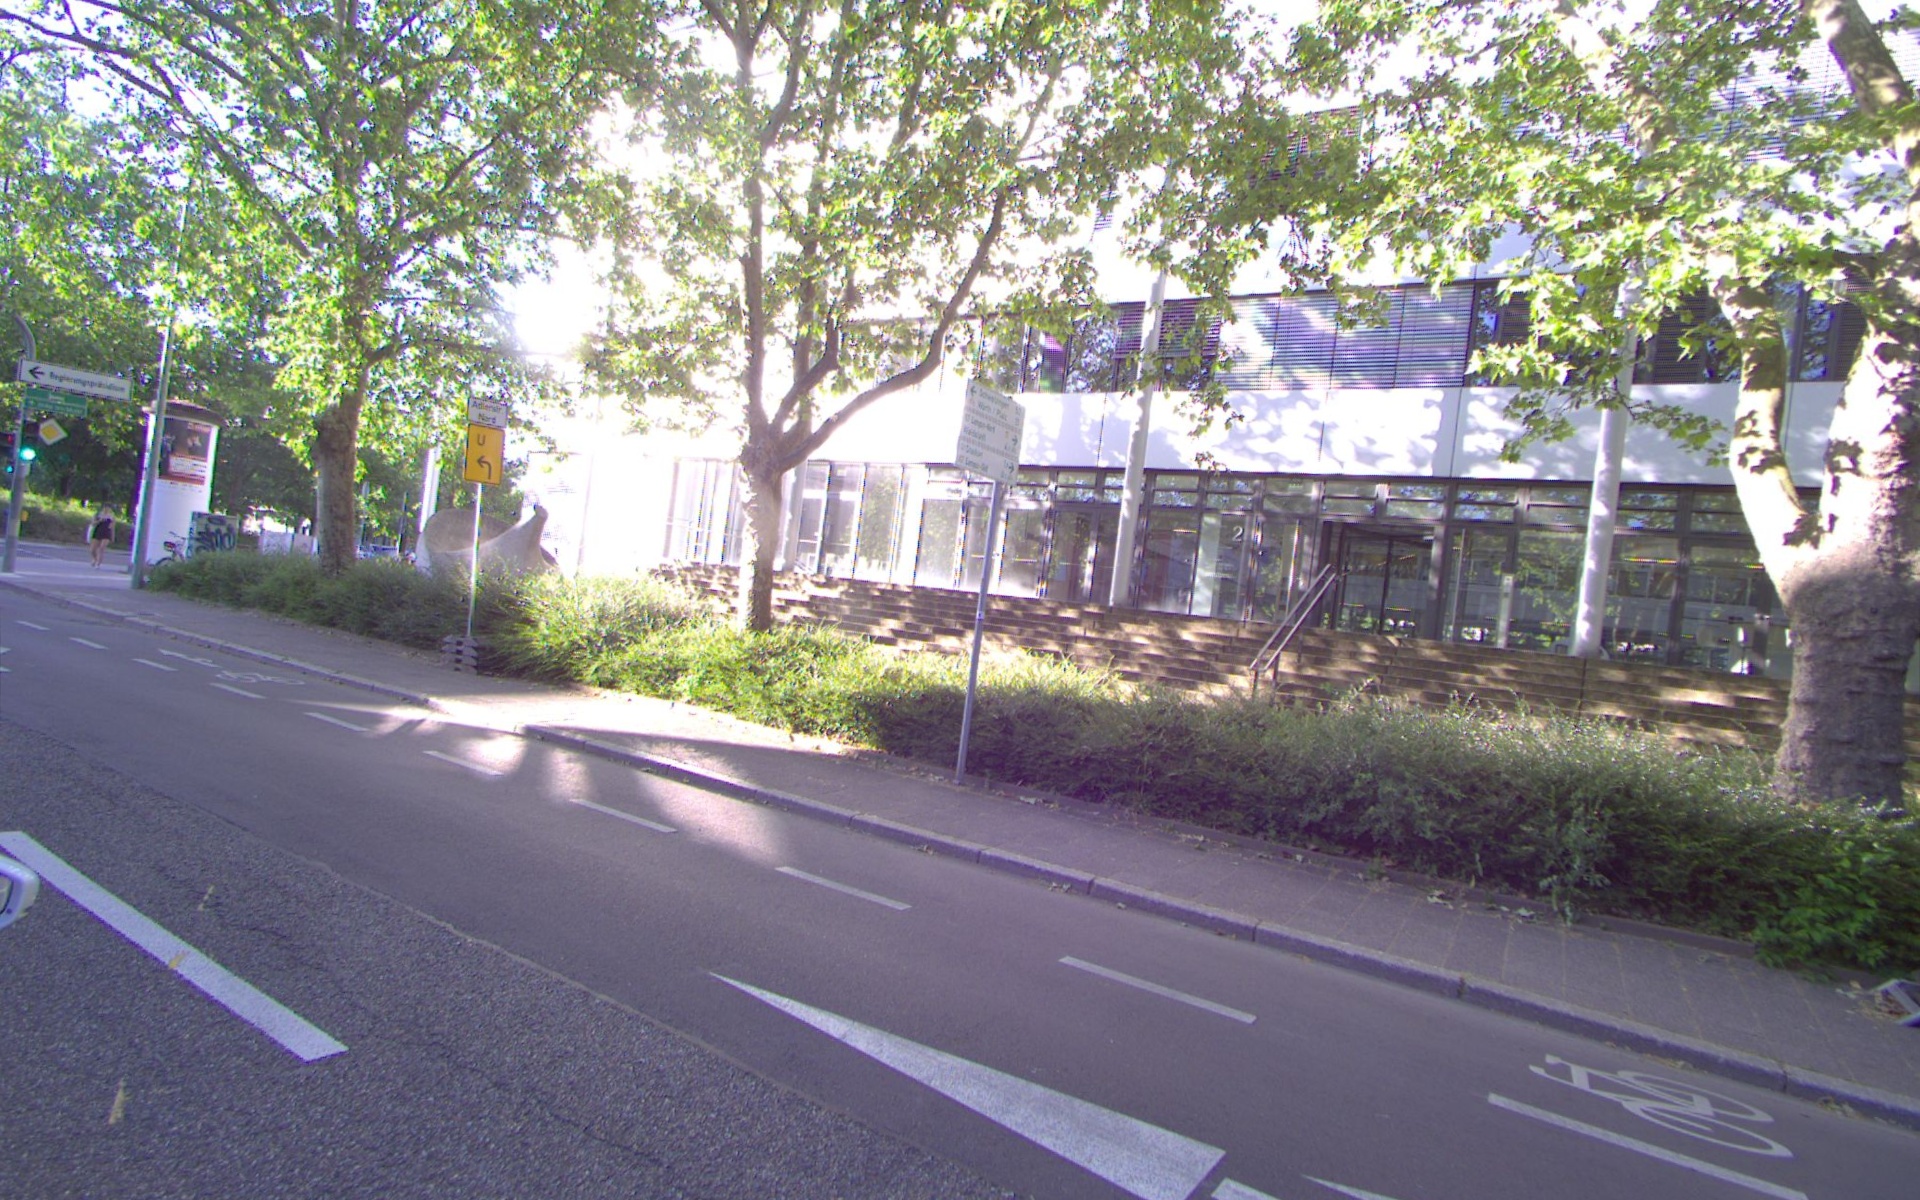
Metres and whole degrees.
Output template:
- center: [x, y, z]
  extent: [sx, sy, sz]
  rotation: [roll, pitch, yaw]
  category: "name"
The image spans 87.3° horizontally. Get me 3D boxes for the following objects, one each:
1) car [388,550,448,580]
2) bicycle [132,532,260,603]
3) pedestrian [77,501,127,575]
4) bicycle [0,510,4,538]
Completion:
- center: [-35.576, -2.323, 65.981]
  extent: [3.732, 1.500, 1.633]
  rotation: [6, -2, 31]
  category: "car"
- center: [-15.952, -0.653, 21.066]
  extent: [0.519, 1.203, 1.980]
  rotation: [7, -2, 30]
  category: "bicycle"
- center: [-20.782, -1.496, 24.374]
  extent: [0.795, 1.650, 0.897]
  rotation: [6, 0, -41]
  category: "pedestrian"
- center: [-32.515, -2.498, 33.417]
  extent: [1.712, 1.113, 0.525]
  rotation: [6, -1, 30]
  category: "bicycle"
